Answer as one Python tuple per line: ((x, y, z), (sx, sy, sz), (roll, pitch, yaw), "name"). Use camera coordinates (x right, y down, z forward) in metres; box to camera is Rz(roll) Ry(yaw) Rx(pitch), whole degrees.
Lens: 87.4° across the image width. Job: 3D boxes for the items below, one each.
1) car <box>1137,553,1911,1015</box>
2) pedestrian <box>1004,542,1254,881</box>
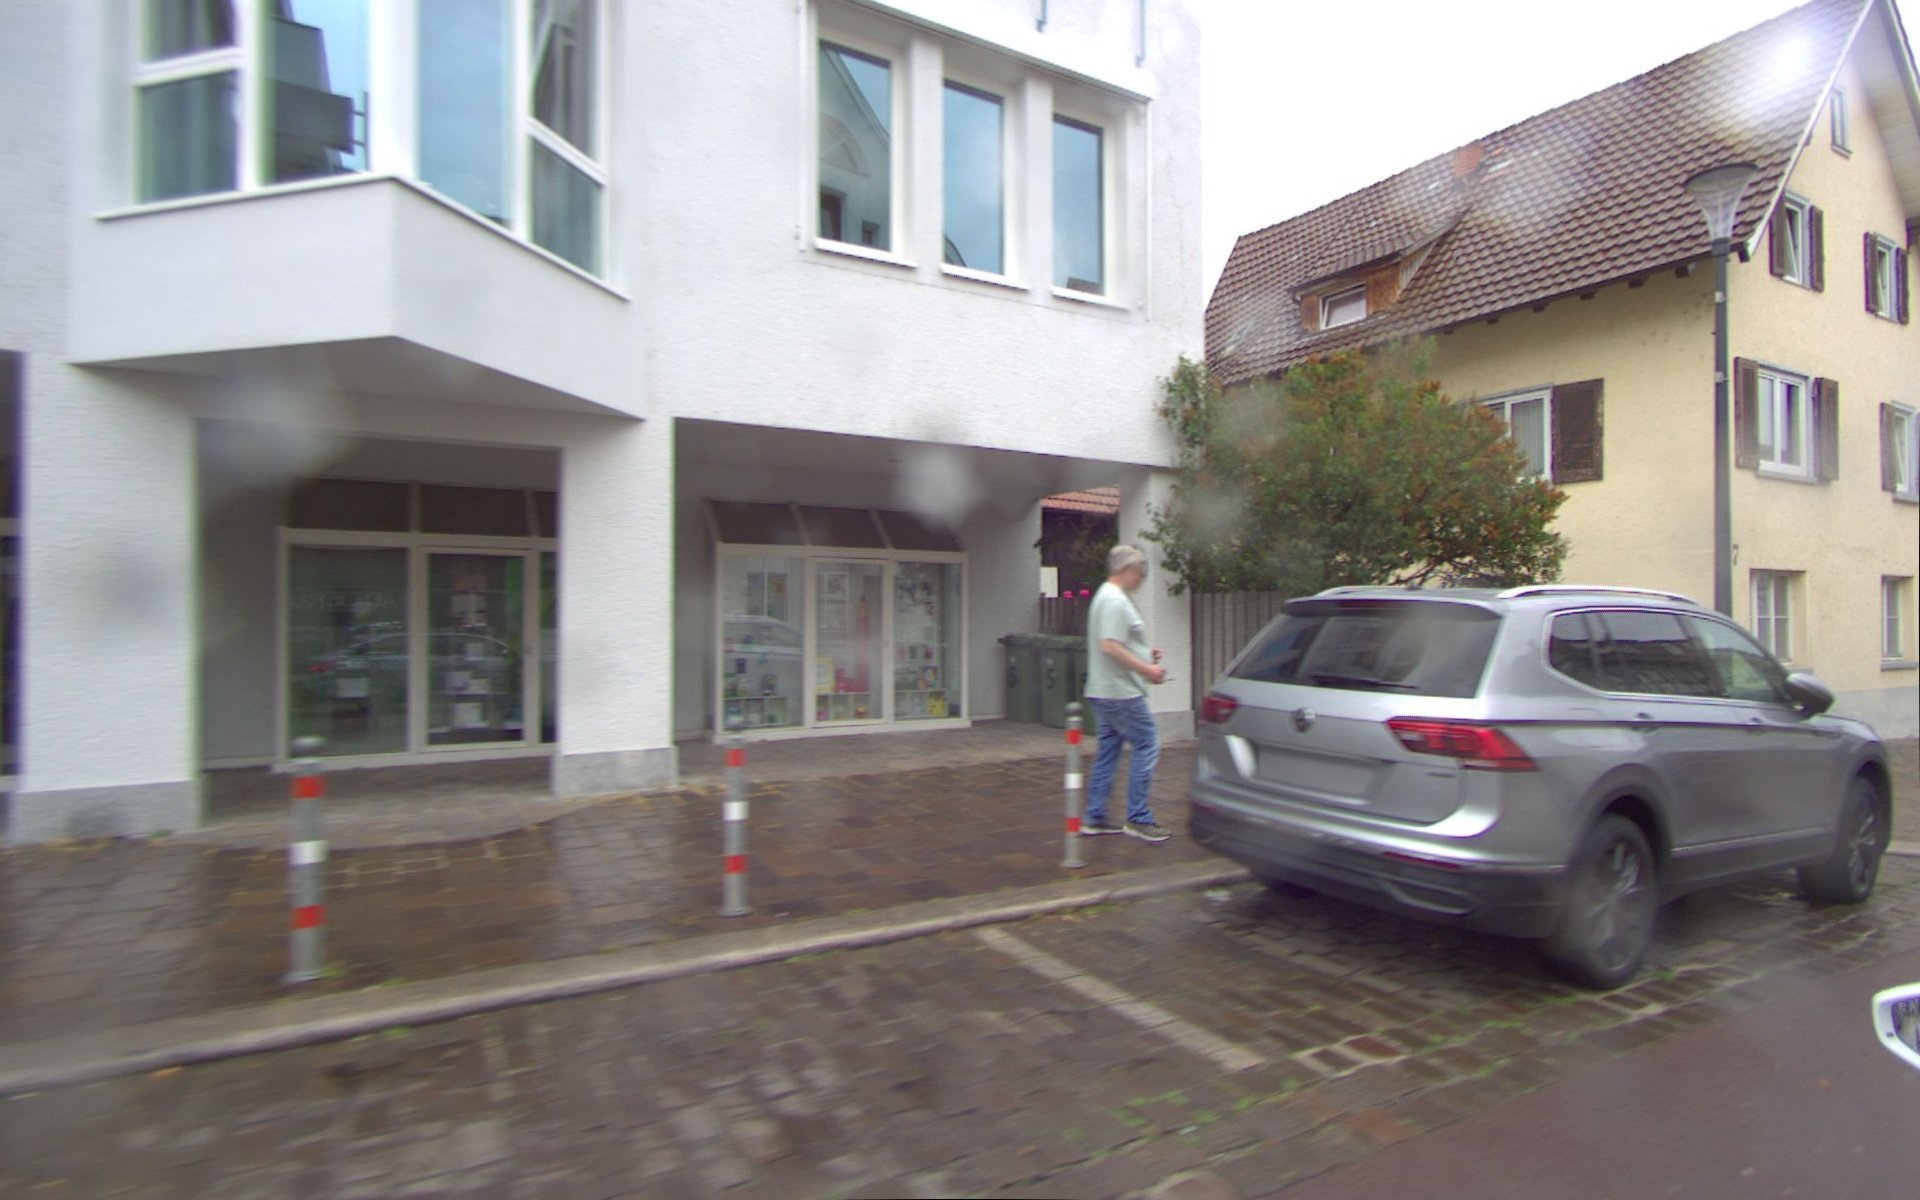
((3.192, 0.735, 5.395), (4.360, 1.589, 1.770), (3, -2, -32), "car")
((1.015, 0.611, 6.161), (1.103, 1.830, 1.030), (1, 0, -30), "pedestrian")
